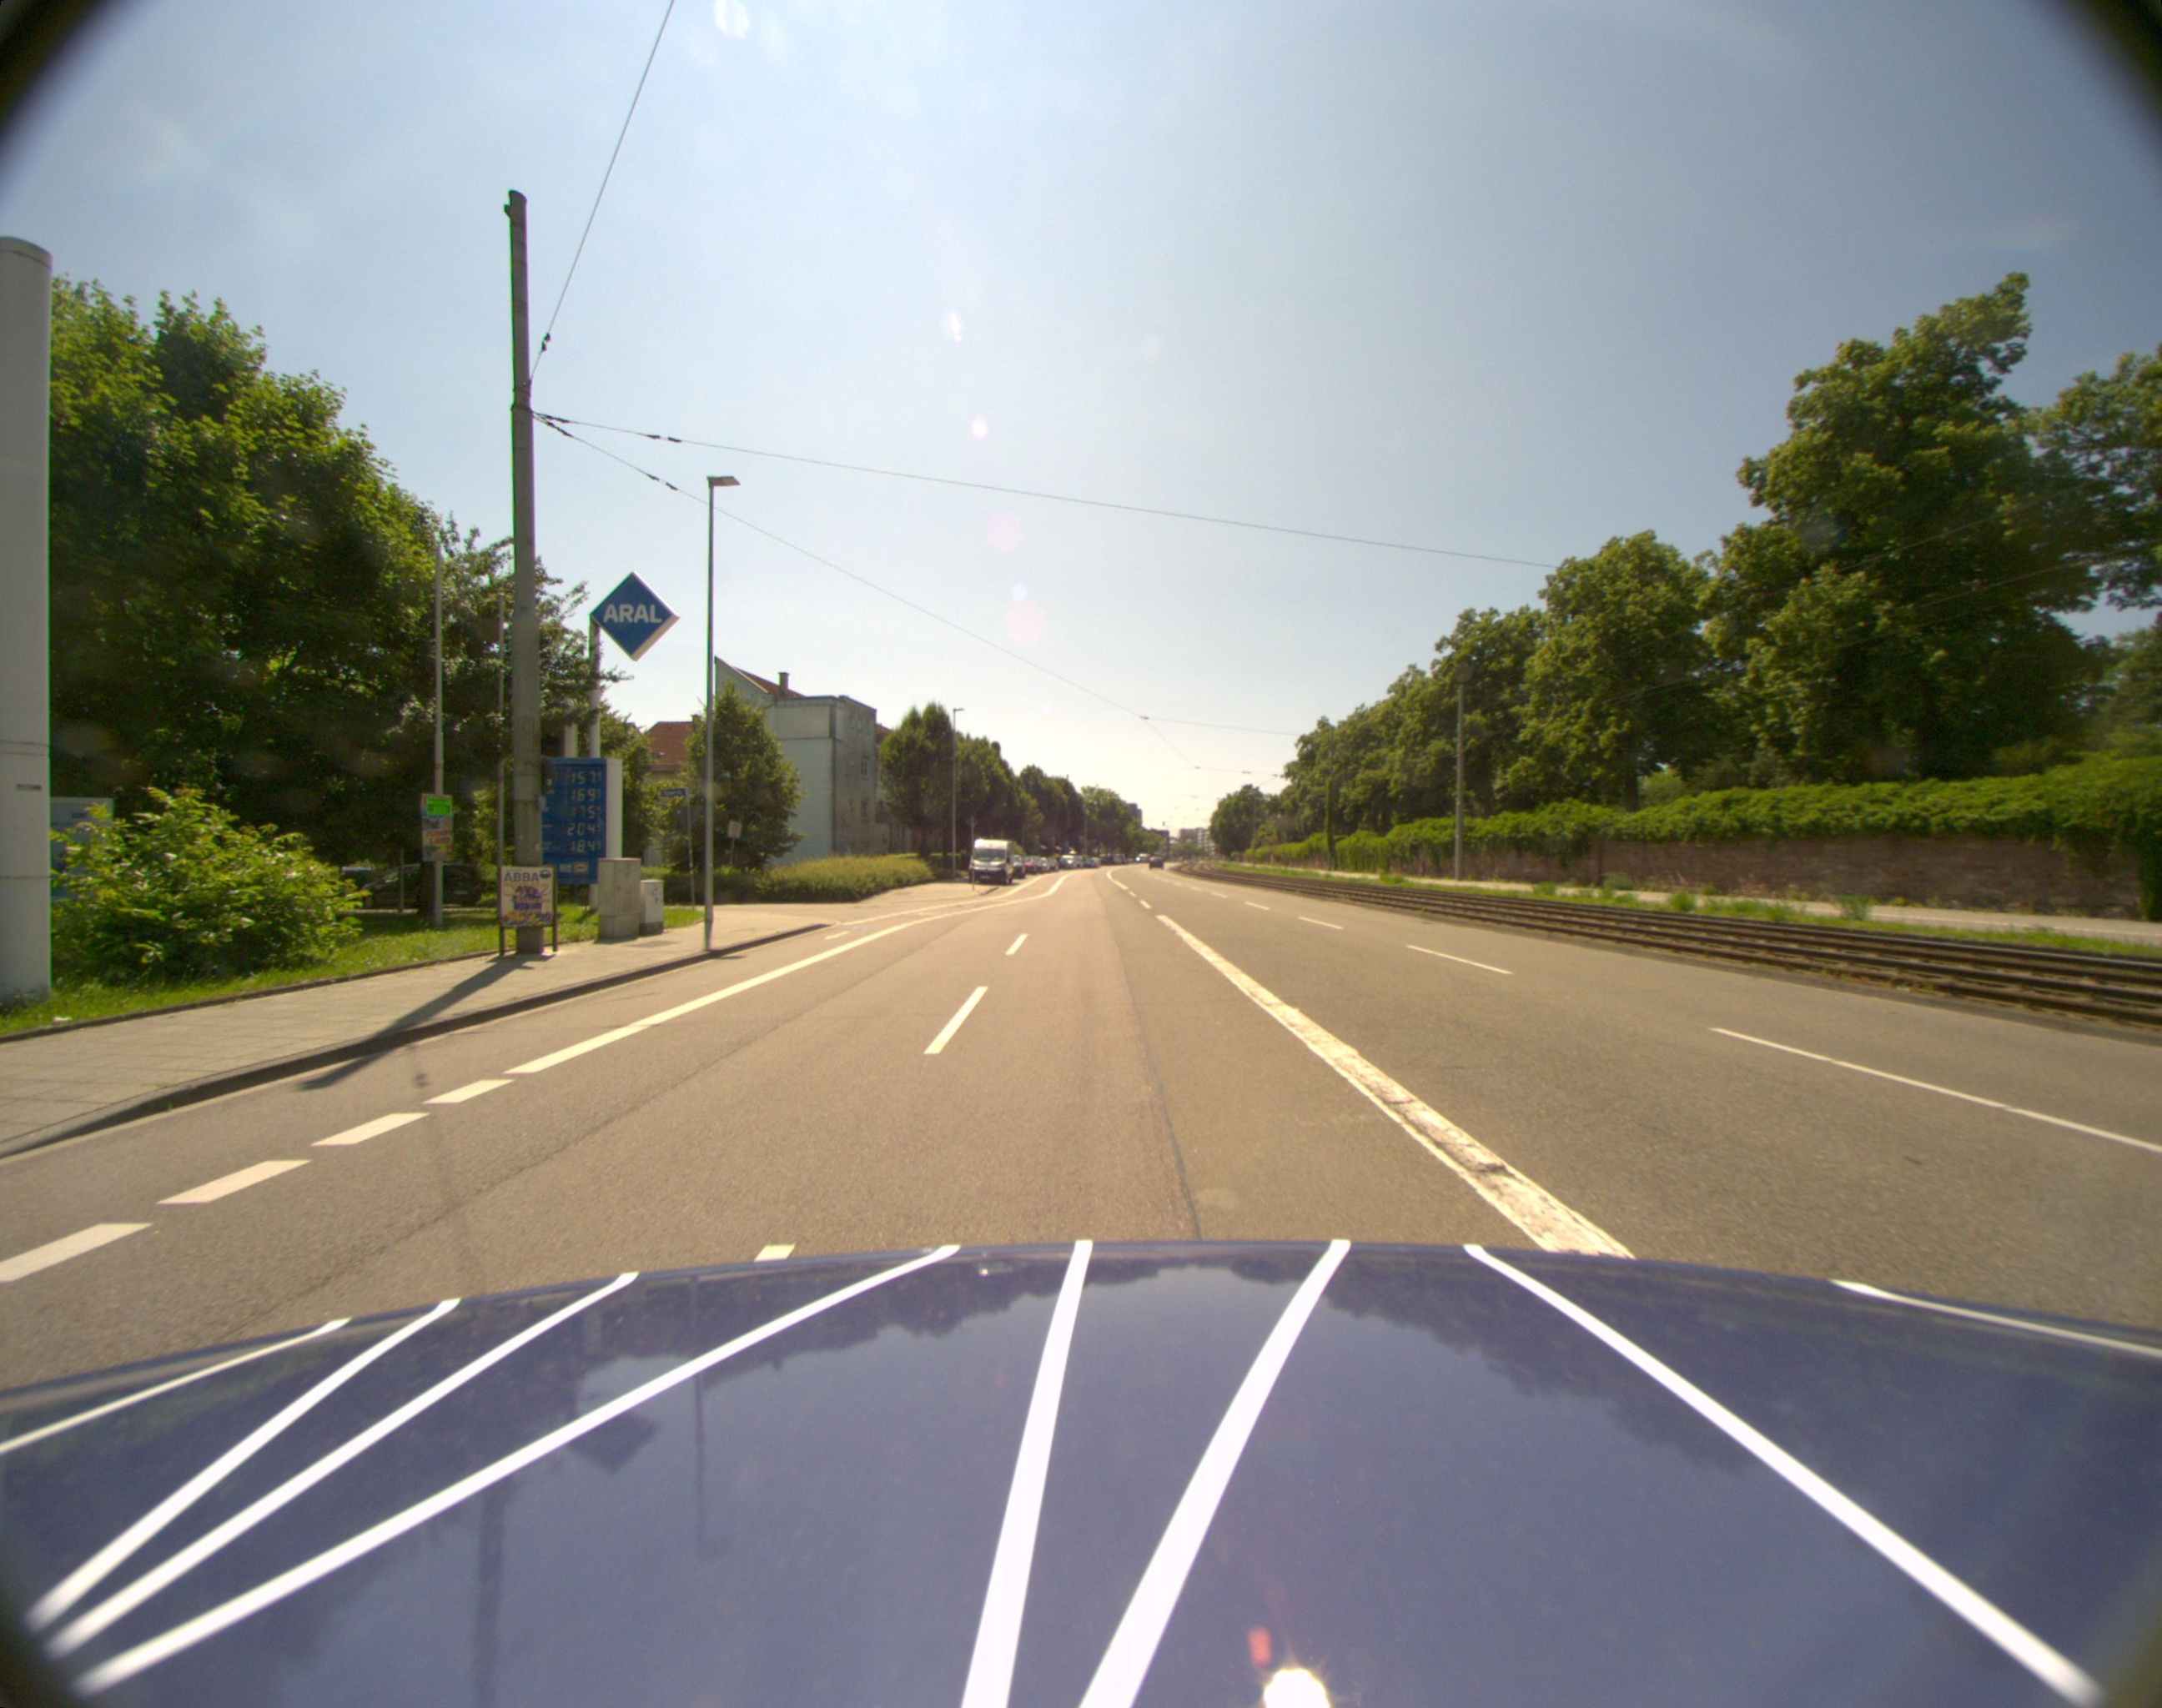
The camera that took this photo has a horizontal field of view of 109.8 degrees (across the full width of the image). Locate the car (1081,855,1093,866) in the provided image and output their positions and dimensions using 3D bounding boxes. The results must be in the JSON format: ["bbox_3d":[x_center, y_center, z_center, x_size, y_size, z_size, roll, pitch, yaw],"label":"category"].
[{"bbox_3d":[0.878,0.901,112.009,1.807,1.585,4.000,0,0,1],"label":"car"}]

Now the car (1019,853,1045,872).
[{"bbox_3d":[-4.421,0.756,68.981,1.998,1.652,4.000,0,0,1],"label":"car"}]

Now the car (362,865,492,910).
[{"bbox_3d":[-25.818,1.276,30.034,3.992,1.677,2.002,0,0,15],"label":"car"}]

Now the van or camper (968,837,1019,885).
[{"bbox_3d":[-4.896,0.353,43.352,2.126,2.469,5.993,3,0,-1],"label":"van or camper"}]

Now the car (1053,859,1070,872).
[{"bbox_3d":[-2.298,1.367,92.000,1.725,1.586,4.001,0,0,3],"label":"car"}]

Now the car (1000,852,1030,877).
[{"bbox_3d":[-4.548,0.713,52.729,1.827,1.624,3.999,1,0,-2],"label":"car"}]

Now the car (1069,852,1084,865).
[{"bbox_3d":[-0.577,0.651,103.894,1.907,1.707,4.000,0,0,1],"label":"car"}]

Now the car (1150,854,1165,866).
[{"bbox_3d":[9.022,0.683,89.790,1.695,1.460,4.002,0,0,6],"label":"car"}]

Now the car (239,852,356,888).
[{"bbox_3d":[-33.410,0.662,32.410,3.991,1.479,1.847,0,0,17],"label":"car"}]

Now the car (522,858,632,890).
[{"bbox_3d":[-24.833,0.970,37.517,4.221,1.512,2.001,0,0,8],"label":"car"}]

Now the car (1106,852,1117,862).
[{"bbox_3d":[5.682,0.579,142.330,1.998,1.718,4.000,0,0,1],"label":"car"}]

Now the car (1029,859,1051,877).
[{"bbox_3d":[-3.984,1.358,74.136,1.906,1.652,4.000,0,0,1],"label":"car"}]

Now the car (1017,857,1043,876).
[{"bbox_3d":[-4.245,0.993,63.526,1.813,1.543,4.000,0,0,2],"label":"car"}]
